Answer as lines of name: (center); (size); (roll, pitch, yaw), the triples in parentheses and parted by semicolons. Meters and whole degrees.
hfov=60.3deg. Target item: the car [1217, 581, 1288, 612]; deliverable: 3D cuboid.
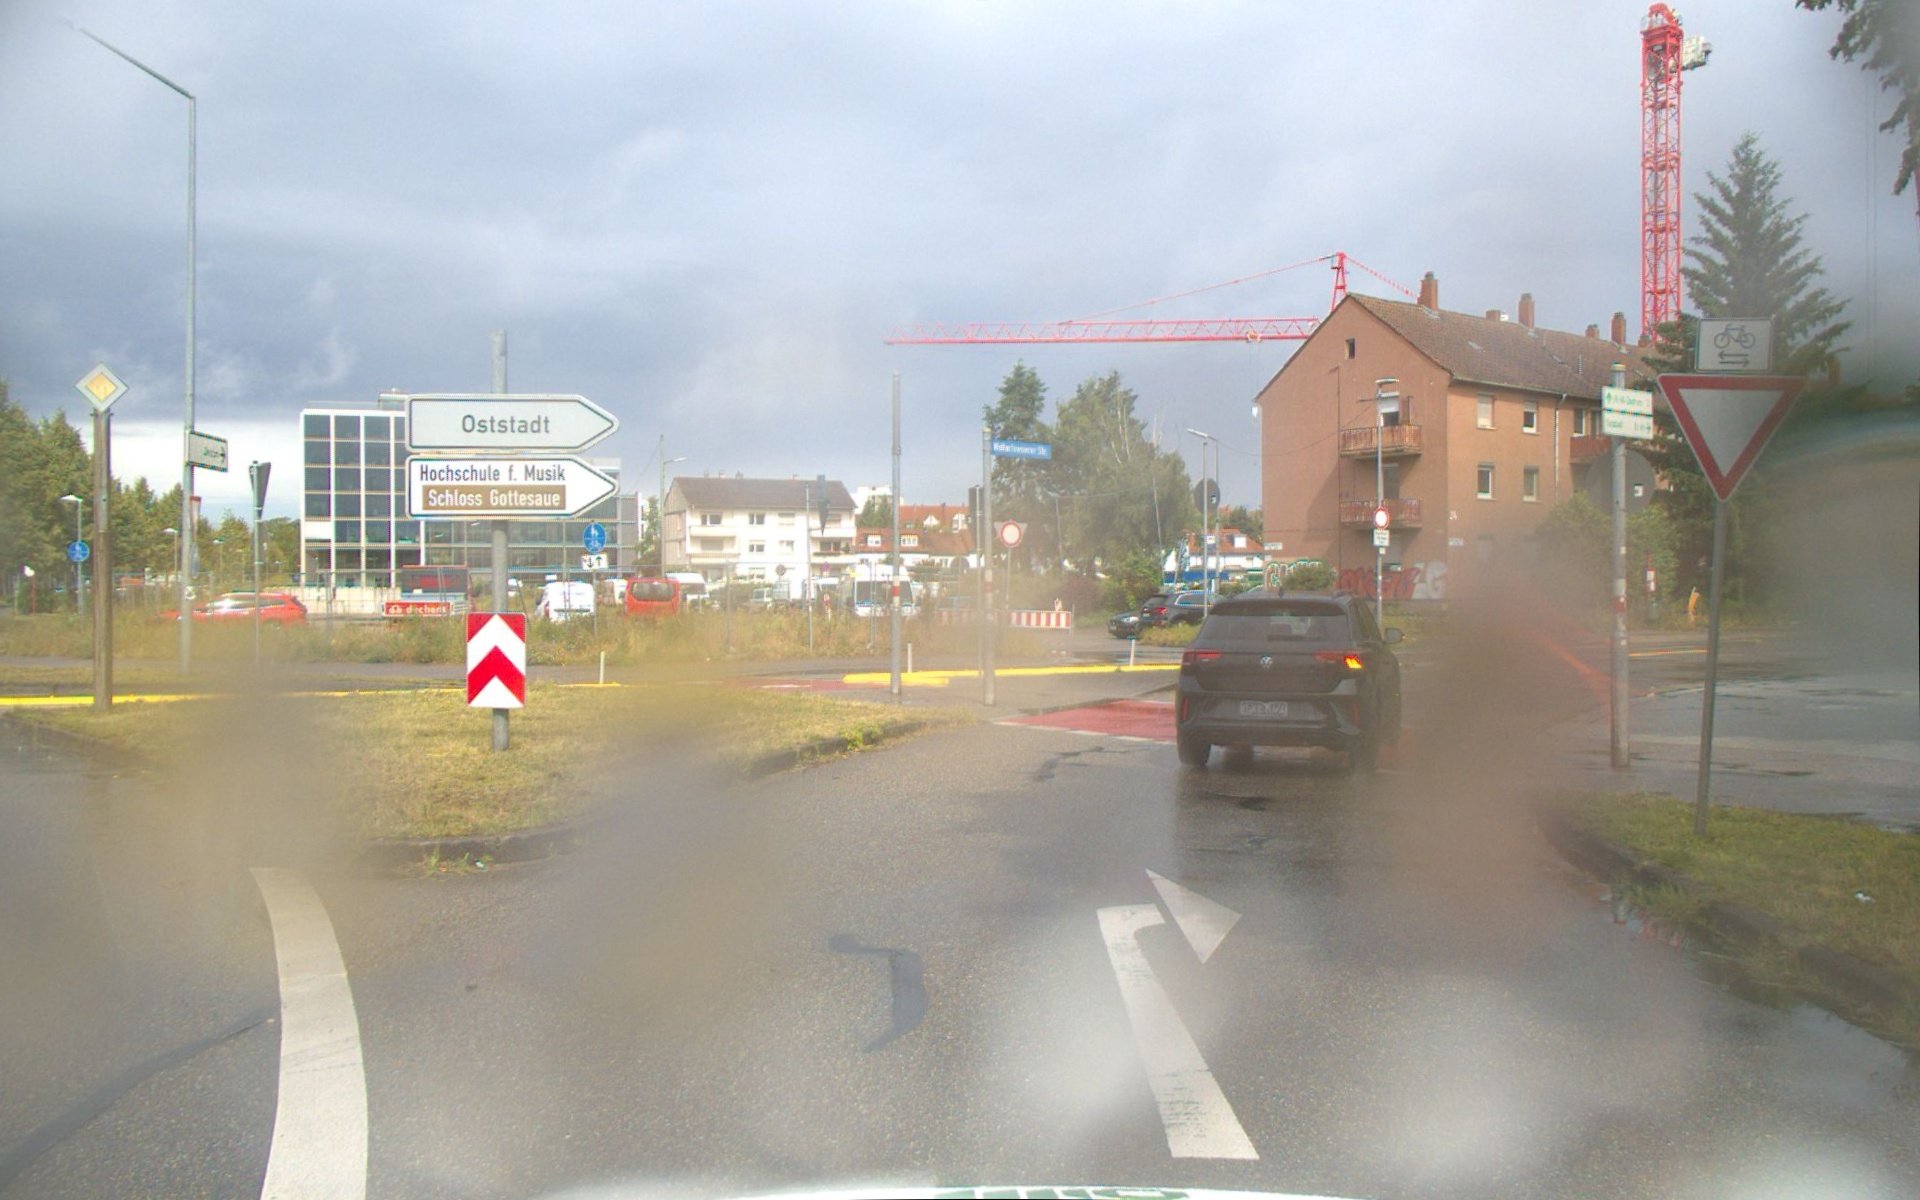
car: (14.893, -0.195, 84.155); (3.435, 1.545, 1.618); (0, 0, 15)

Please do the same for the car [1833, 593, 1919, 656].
car: (29.900, 0.731, 52.362); (4.641, 1.762, 2.058); (-1, 3, -34)

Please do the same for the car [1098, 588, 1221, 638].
car: (6.861, 0.434, 57.056); (3.969, 1.661, 1.614); (0, 0, -8)

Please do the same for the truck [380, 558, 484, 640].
truck: (-16.199, -0.094, 51.079); (2.347, 2.249, 6.086); (0, 3, -11)

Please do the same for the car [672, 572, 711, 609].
car: (-17.091, -0.627, 105.062); (2.330, 2.121, 4.959); (0, 2, -11)

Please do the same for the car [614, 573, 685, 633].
car: (-9.931, 0.053, 52.716); (1.892, 1.729, 3.984); (0, 3, -16)

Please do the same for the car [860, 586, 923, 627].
car: (-3.779, 0.328, 90.217); (1.970, 2.161, 3.964); (0, 0, -27)

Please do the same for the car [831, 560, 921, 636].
car: (-2.716, -0.132, 51.943); (2.000, 2.121, 6.251); (0, 3, -11)

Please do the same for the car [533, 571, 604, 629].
car: (-12.998, -0.031, 54.764); (1.824, 1.729, 3.977); (0, 3, -20)

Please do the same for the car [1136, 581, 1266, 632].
car: (7.938, 0.202, 54.608); (3.969, 1.661, 1.614); (0, 0, -8)

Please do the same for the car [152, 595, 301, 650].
car: (-22.556, 0.669, 50.976); (4.123, 1.536, 1.844); (-1, 3, -24)

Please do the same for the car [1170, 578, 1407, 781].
car: (3.221, 0.621, 15.621); (1.857, 1.646, 4.003); (0, 1, 16)
